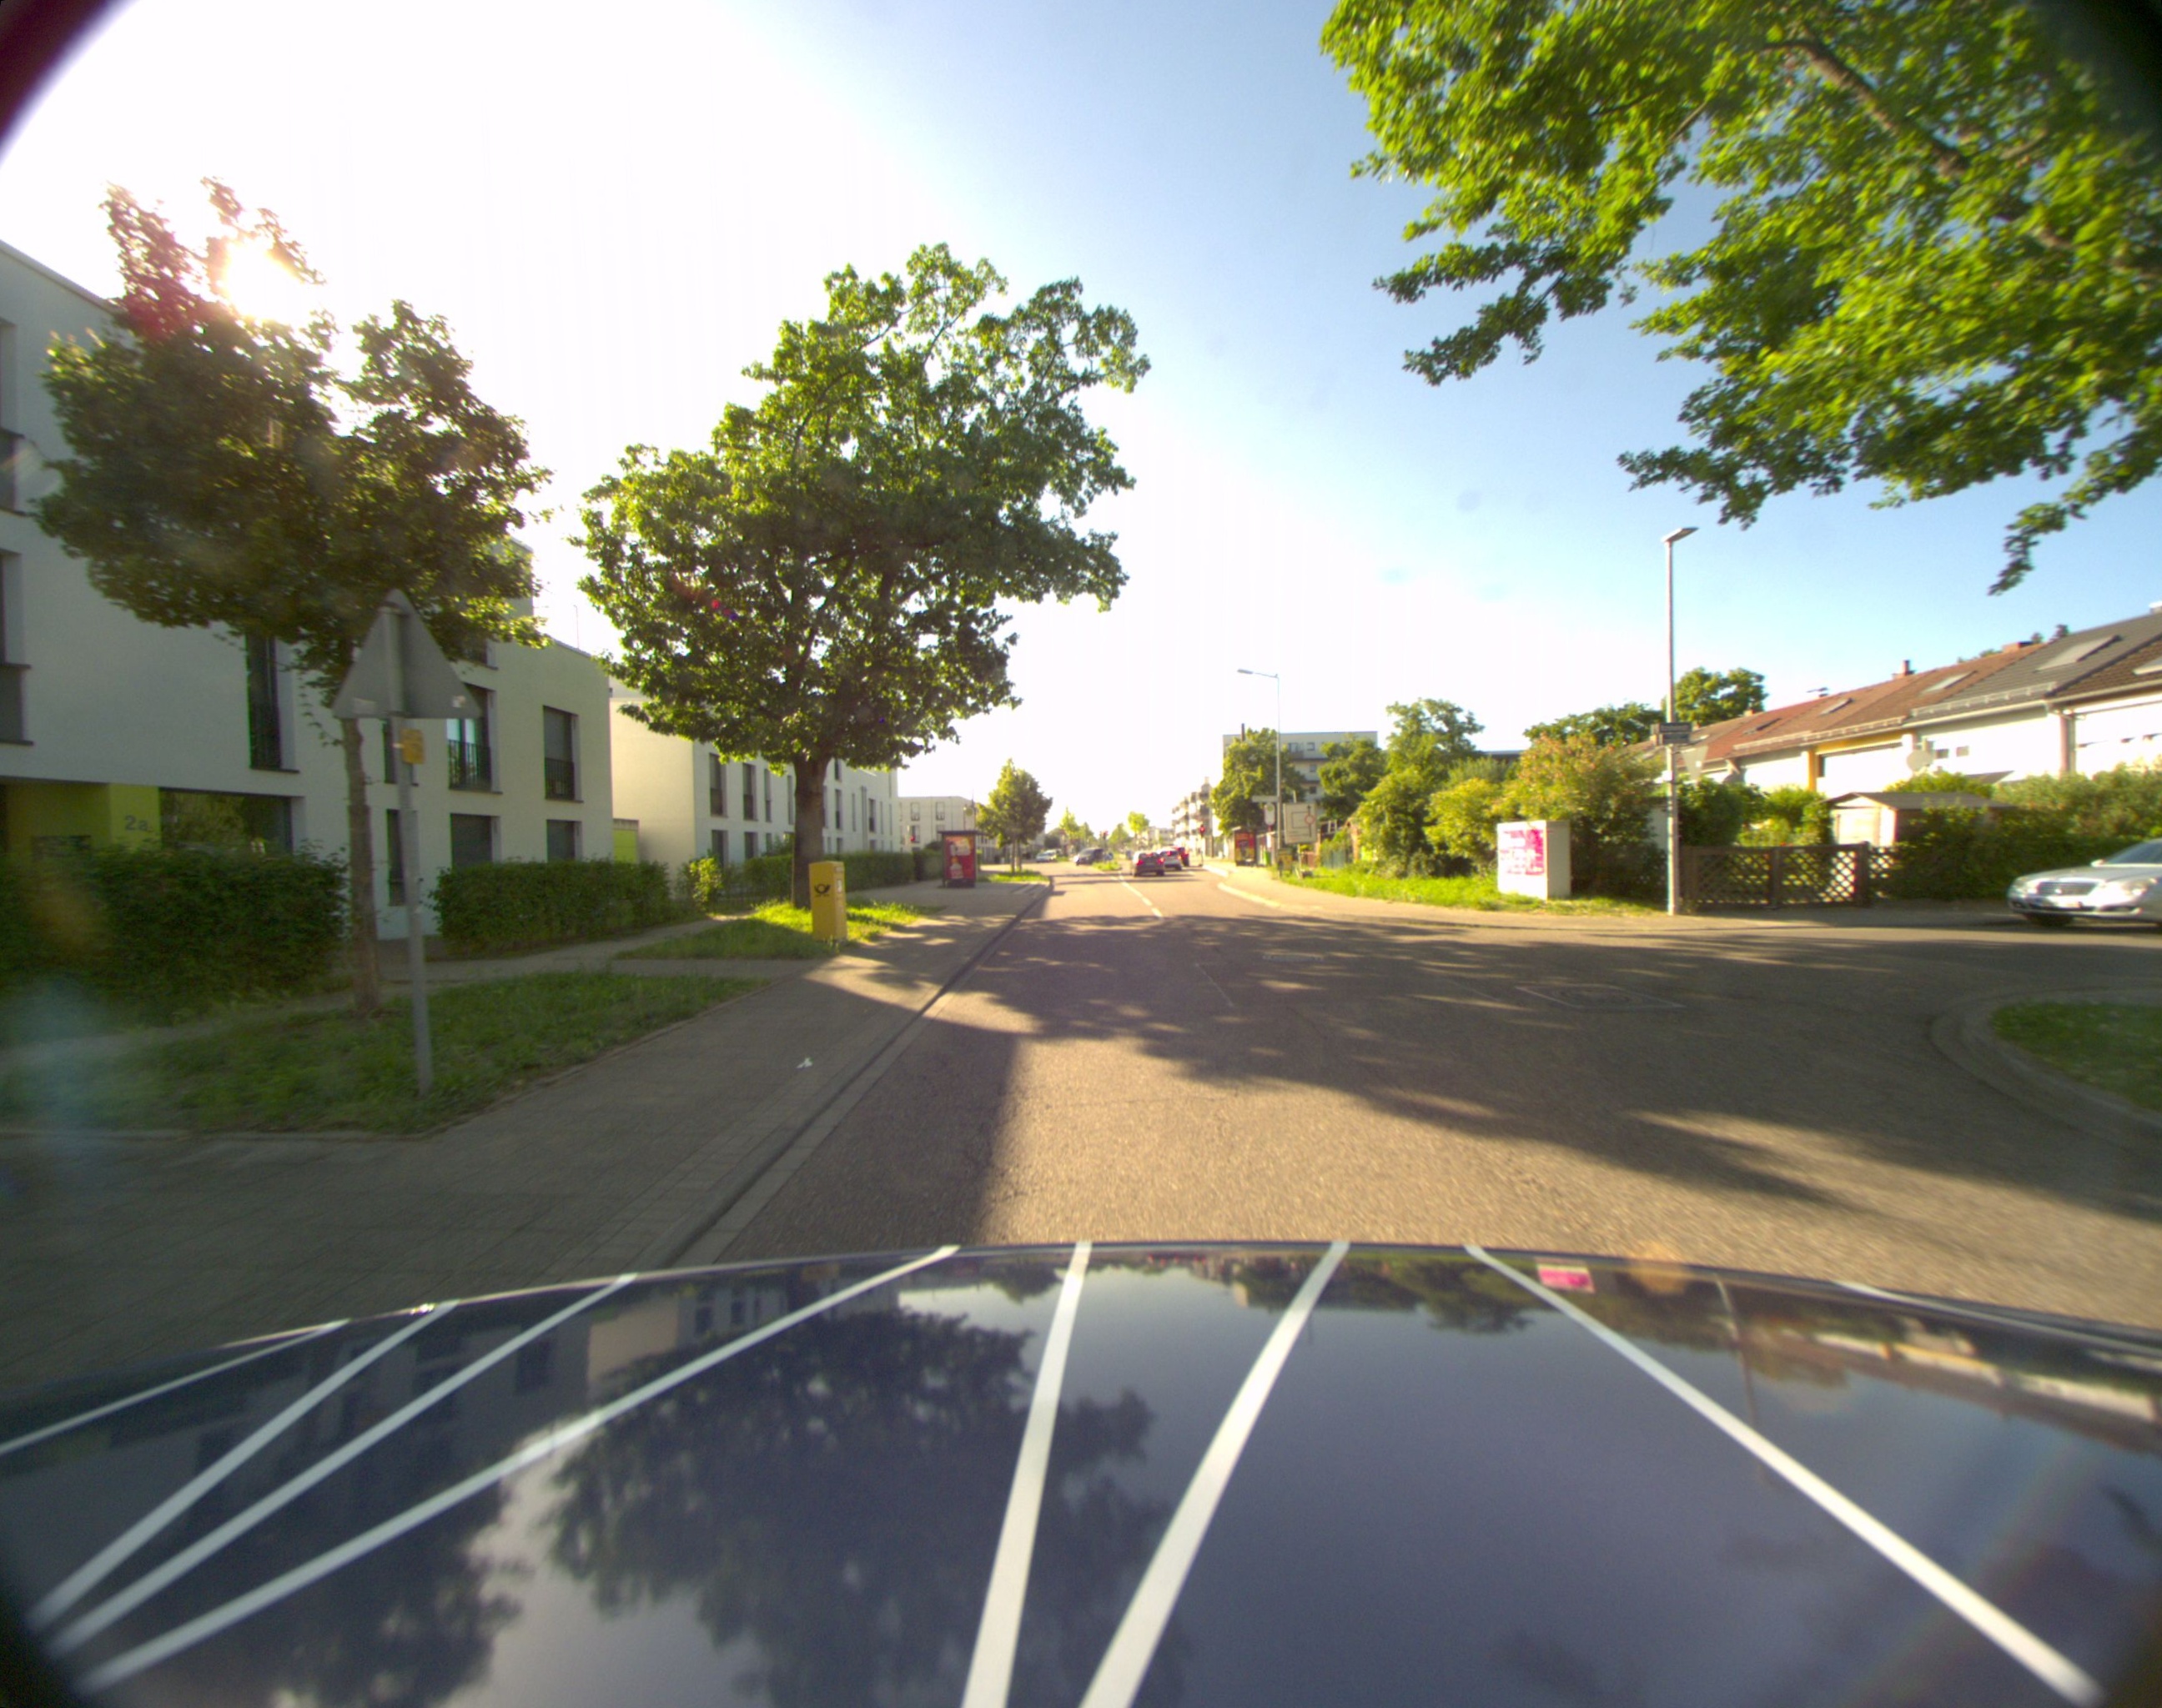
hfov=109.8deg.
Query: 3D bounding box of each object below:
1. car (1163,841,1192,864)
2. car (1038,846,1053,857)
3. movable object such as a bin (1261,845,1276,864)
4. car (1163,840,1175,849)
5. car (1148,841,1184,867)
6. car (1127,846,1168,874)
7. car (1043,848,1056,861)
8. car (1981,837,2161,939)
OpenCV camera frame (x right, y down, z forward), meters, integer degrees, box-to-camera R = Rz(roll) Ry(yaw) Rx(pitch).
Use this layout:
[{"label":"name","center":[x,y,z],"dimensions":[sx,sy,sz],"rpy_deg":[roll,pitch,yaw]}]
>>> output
[{"label":"car","center":[7.327,-0.134,57.953],"dimensions":[1.944,1.579,4.181],"rpy_deg":[-2,1,4]},{"label":"car","center":[-5.376,-0.361,114.480],"dimensions":[2.008,1.655,3.999],"rpy_deg":[-1,1,0]},{"label":"movable object such as a bin","center":[10.197,0.043,41.349],"dimensions":[0.594,0.962,0.558],"rpy_deg":[-5,1,4]},{"label":"car","center":[17.348,-1.915,149.917],"dimensions":[1.998,1.545,3.998],"rpy_deg":[-1,3,2]},{"label":"car","center":[5.676,-0.055,50.986],"dimensions":[2.214,1.582,4.535],"rpy_deg":[-2,1,6]},{"label":"car","center":[3.817,0.303,44.387],"dimensions":[1.998,1.435,4.449],"rpy_deg":[-3,1,0]},{"label":"car","center":[-5.071,0.088,122.051],"dimensions":[1.999,2.002,3.999],"rpy_deg":[-1,1,0]},{"label":"car","center":[16.936,0.439,11.449],"dimensions":[4.357,1.377,1.923],"rpy_deg":[-1,1,2]}]
